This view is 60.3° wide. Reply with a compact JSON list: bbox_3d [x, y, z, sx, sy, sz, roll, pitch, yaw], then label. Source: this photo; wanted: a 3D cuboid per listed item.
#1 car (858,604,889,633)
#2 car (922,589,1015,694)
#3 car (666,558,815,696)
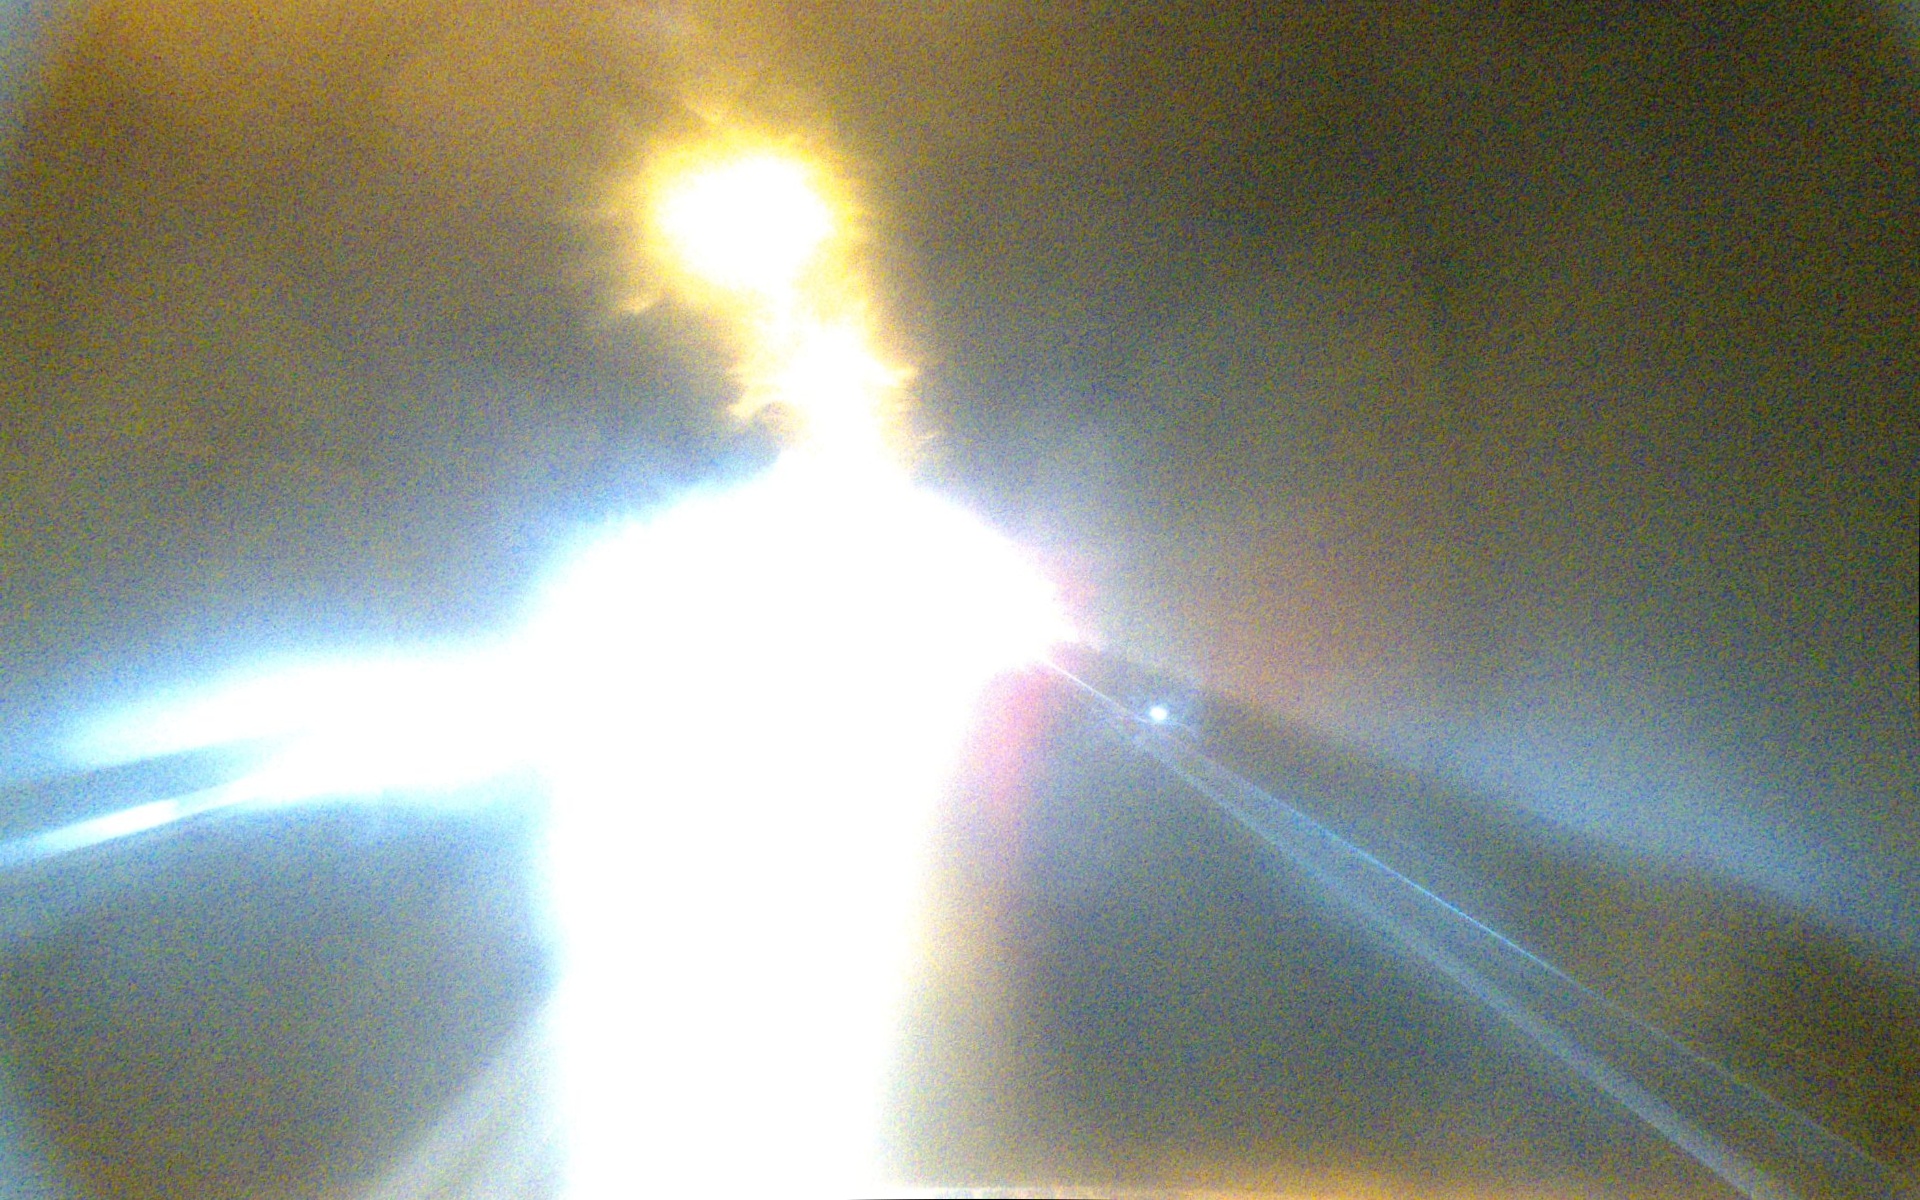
[{"bbox_3d":[-4.955,1.064,94.955,1.602,1.561,3.645,-1,1,-1],"label":"car"},{"bbox_3d":[0.127,0.708,30.913,1.602,1.788,4.145,-1,1,0],"label":"car"},{"bbox_3d":[-3.321,0.361,25.857,1.725,1.933,4.608,-1,1,0],"label":"car"}]
